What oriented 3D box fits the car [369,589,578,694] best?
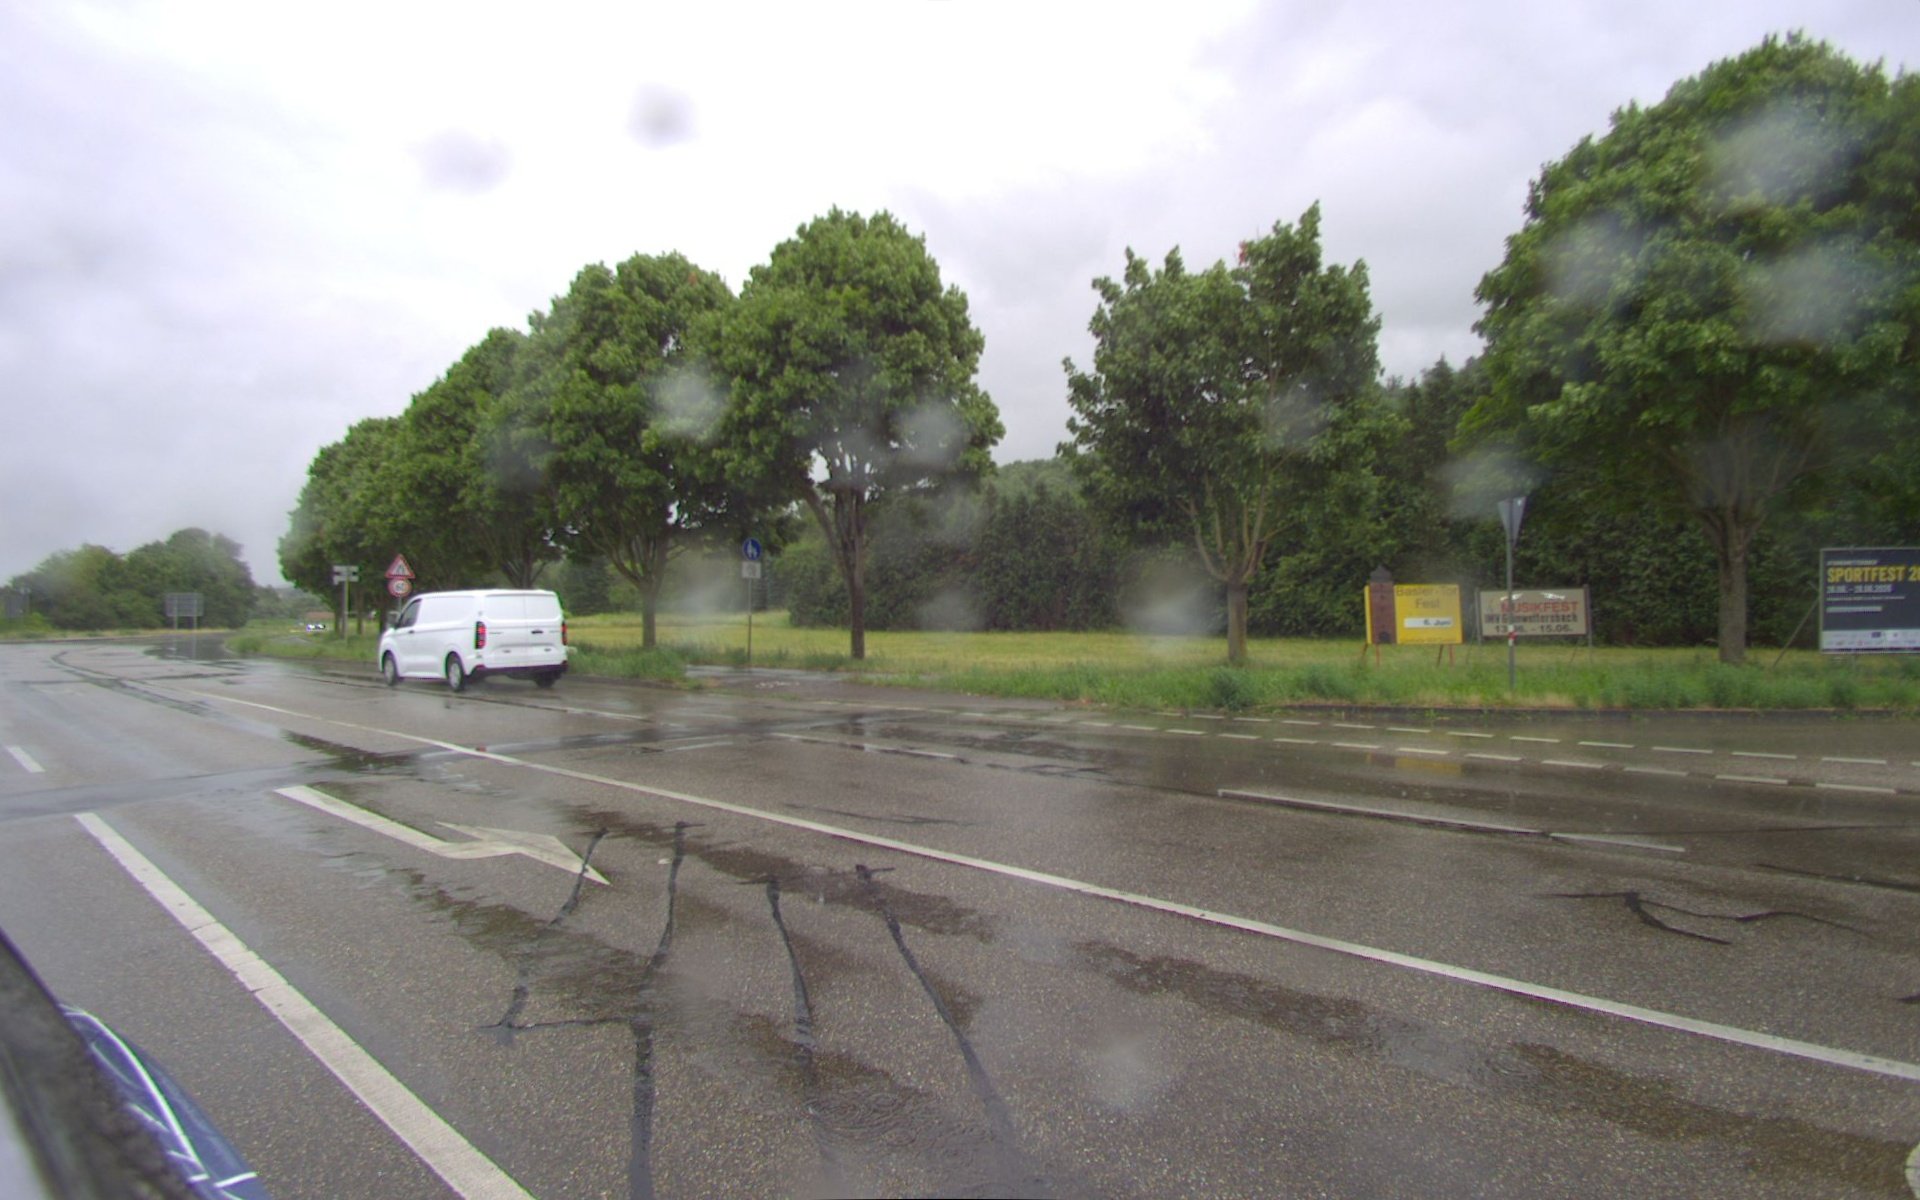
[{"bbox_3d":[-10.038,0.791,20.728,4.787,1.907,2.085,-1,-1,40],"label":"car"}]

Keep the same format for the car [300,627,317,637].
[{"bbox_3d":[-113.315,5.563,176.032,1.884,1.597,4.117,0,0,-23],"label":"car"}]
